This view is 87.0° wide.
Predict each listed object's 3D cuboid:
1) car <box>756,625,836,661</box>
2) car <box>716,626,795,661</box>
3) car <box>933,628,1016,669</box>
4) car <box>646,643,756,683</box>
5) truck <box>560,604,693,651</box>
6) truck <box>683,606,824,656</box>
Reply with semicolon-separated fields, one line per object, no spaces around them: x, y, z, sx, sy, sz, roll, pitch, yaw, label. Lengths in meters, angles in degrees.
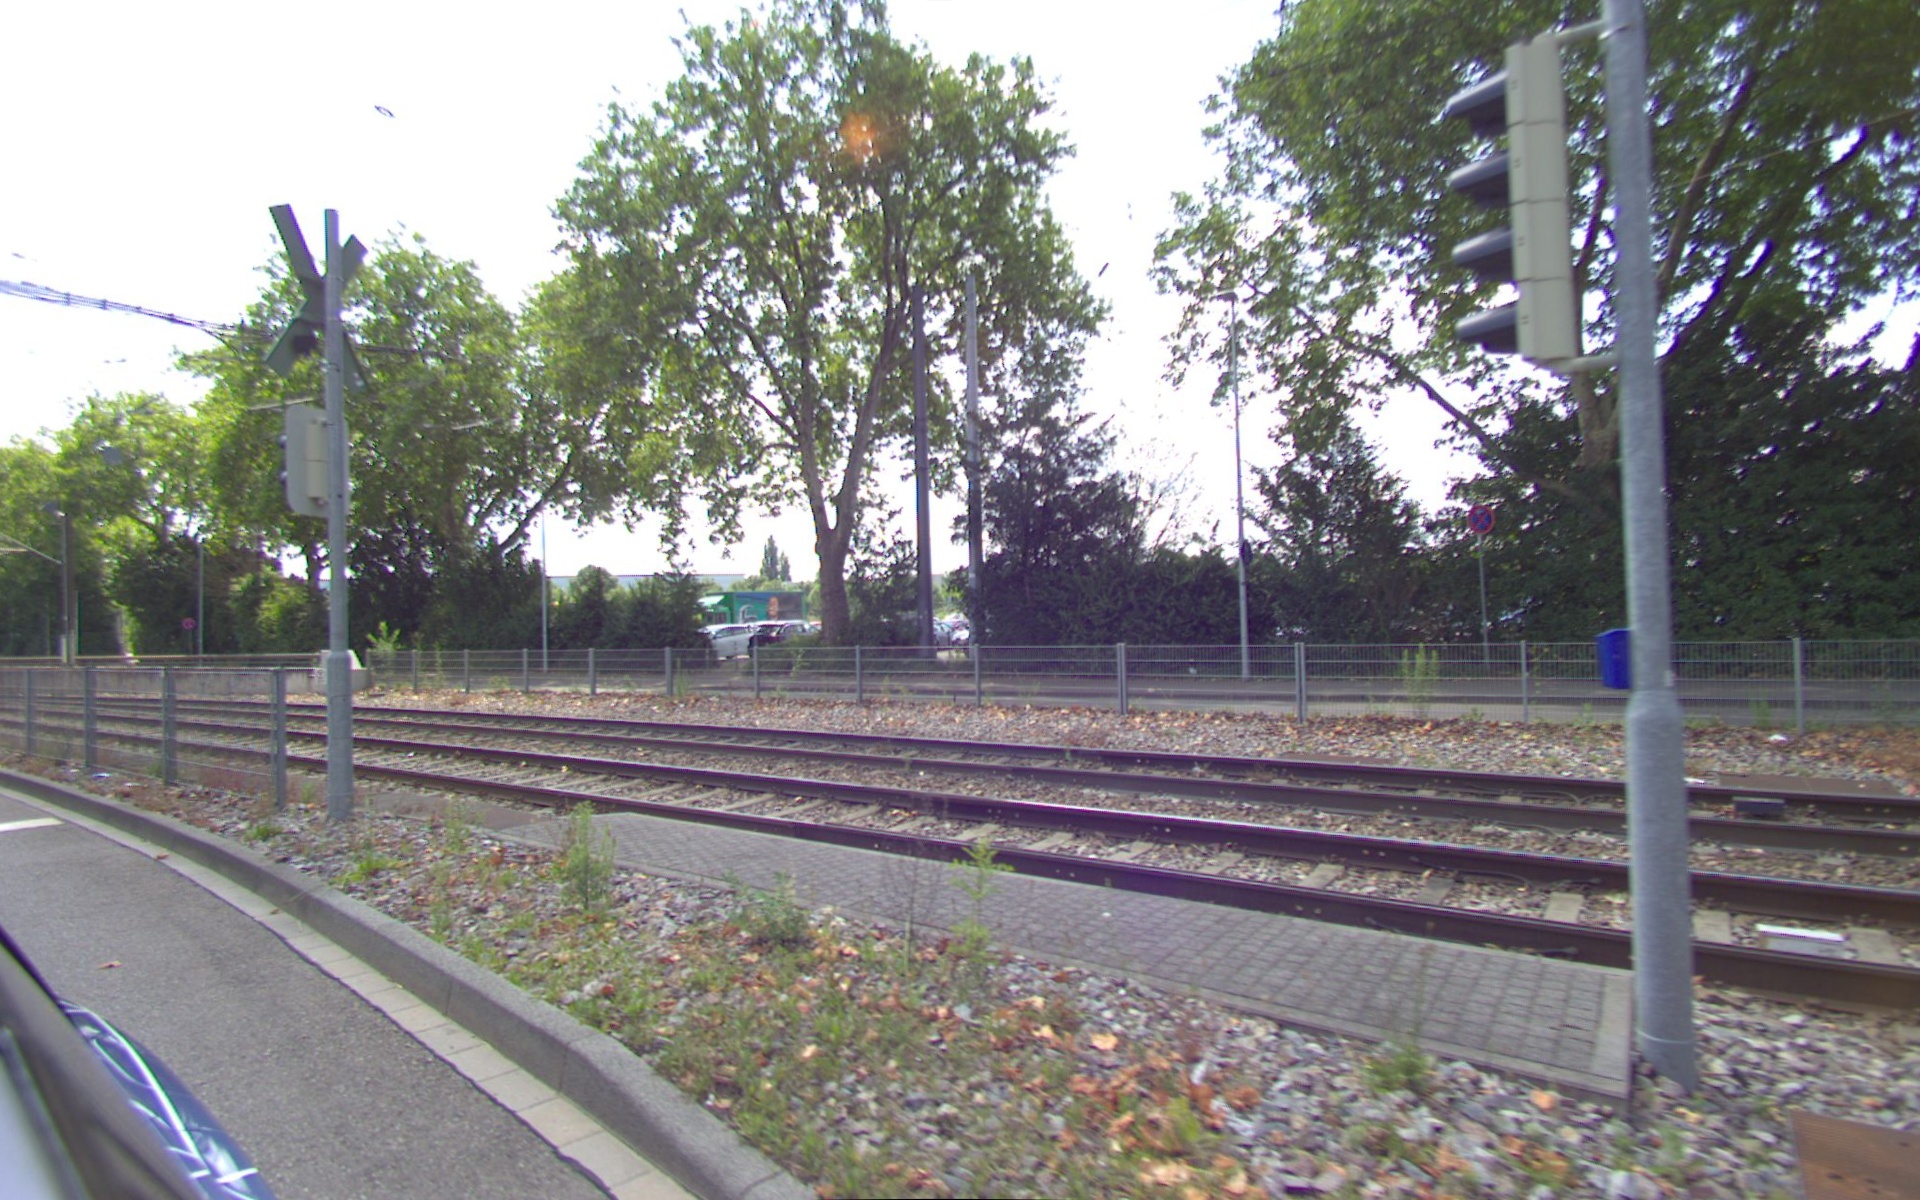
-8.765;2.281;54.281;1.996;1.785;3.952;-3;-2;35;car
-11.258;2.374;55.852;1.996;1.785;3.952;-3;-2;35;car
0.730;2.247;47.619;1.996;1.785;3.952;-3;-2;35;car
-10.396;2.507;40.838;1.996;1.453;3.952;-3;-2;35;car
-31.066;2.646;95.169;2.743;4.105;12.671;-3;-3;36;truck
-12.494;1.953;62.016;2.704;2.815;8.744;-3;-4;40;truck
